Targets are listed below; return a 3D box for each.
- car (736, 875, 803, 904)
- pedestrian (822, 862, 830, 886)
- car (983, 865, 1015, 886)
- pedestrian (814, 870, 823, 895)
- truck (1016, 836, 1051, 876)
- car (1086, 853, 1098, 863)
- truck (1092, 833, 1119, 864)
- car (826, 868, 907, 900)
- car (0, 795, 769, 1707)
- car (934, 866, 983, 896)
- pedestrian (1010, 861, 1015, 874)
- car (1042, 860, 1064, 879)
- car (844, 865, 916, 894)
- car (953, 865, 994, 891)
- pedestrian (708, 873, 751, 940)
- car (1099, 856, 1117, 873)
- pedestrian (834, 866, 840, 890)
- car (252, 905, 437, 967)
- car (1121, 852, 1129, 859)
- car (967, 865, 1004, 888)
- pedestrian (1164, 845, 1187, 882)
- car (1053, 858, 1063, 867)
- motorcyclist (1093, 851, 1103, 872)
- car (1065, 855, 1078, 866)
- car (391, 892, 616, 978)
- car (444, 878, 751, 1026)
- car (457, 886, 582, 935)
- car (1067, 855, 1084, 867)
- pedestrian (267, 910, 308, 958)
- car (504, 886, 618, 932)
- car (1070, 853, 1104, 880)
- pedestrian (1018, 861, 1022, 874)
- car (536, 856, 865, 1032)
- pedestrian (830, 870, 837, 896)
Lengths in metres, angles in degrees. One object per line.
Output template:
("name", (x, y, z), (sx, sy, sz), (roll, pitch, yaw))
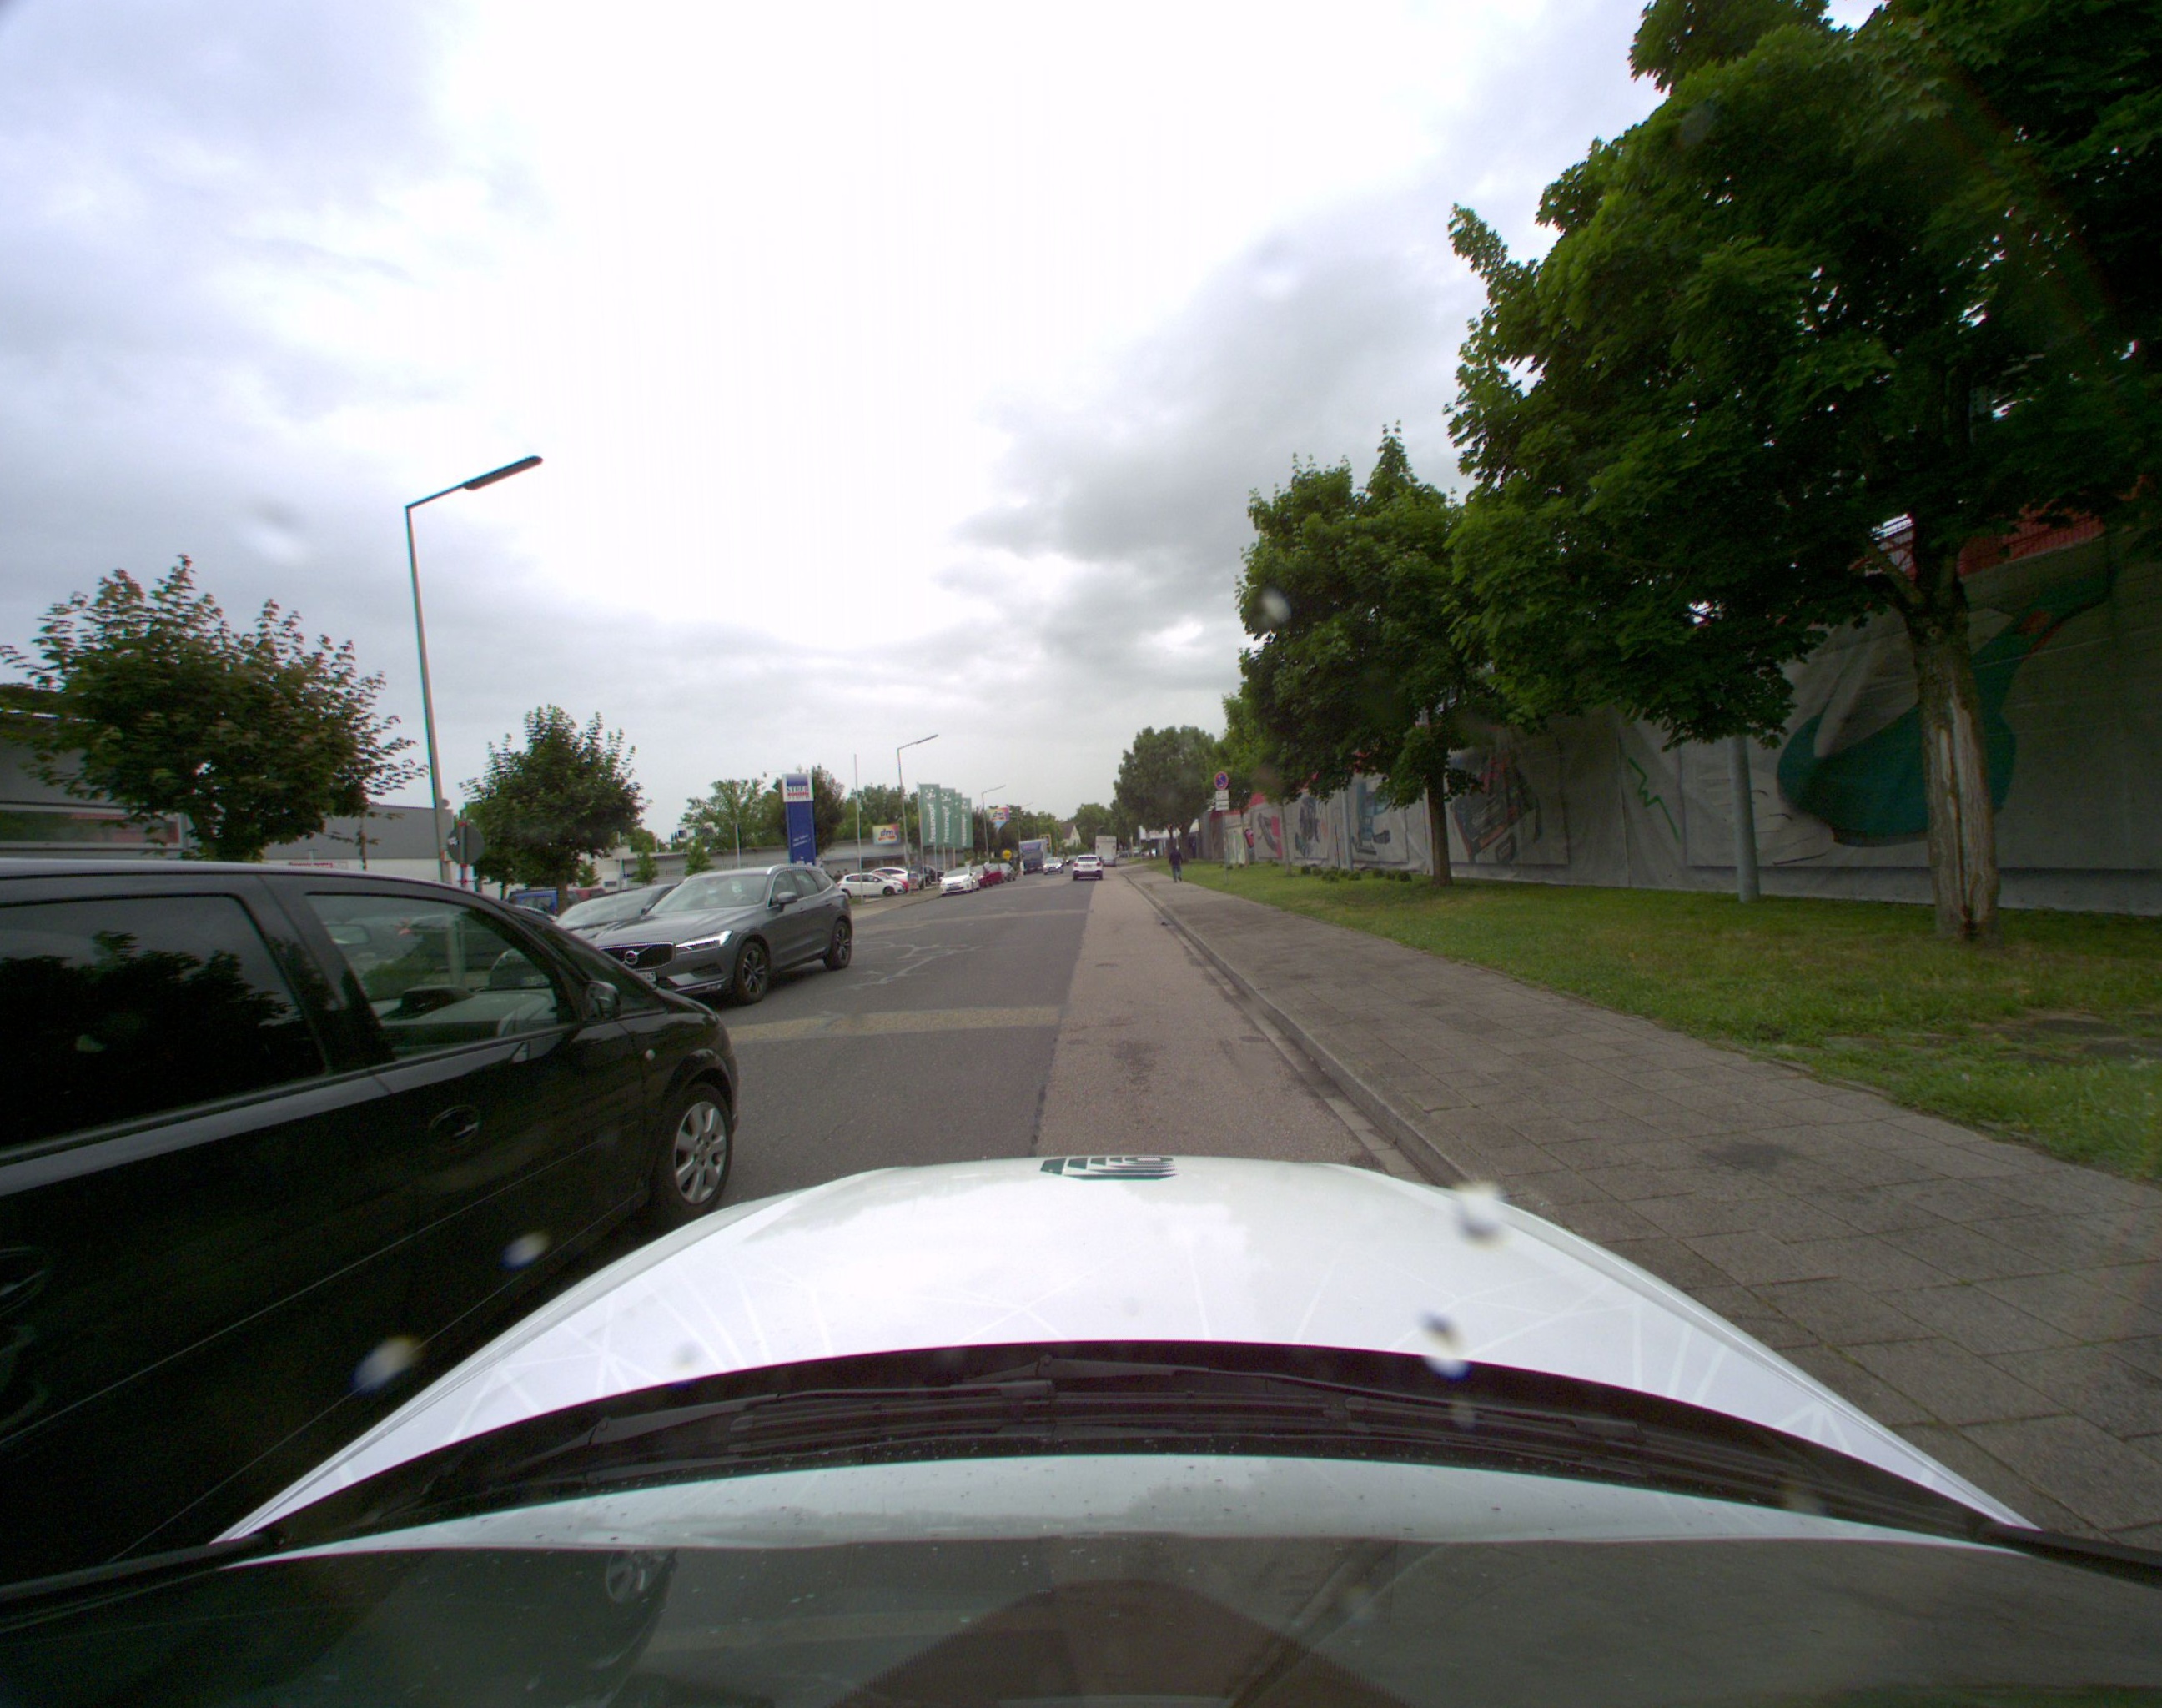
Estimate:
("car", (-22.634, 2.582, 59.235), (3.973, 1.669, 1.877), (-5, 0, 1))
("pedestrian", (-17.081, 1.369, 54.632), (0.359, 1.570, 0.502), (-4, 0, -12))
("car", (-6.323, 1.643, 63.443), (1.891, 1.367, 4.002), (-5, 0, 2))
("pedestrian", (-17.633, 1.910, 54.688), (0.456, 1.642, 0.372), (-4, 0, -16))
("truck", (-5.229, 0.204, 90.999), (2.962, 3.955, 6.408), (-6, 0, 2))
("car", (1.957, 0.663, 143.239), (1.864, 1.662, 3.999), (-5, 0, 0))
("truck", (3.108, -0.622, 105.209), (3.125, 3.584, 10.049), (-3, -1, 0))
("car", (-12.528, 1.729, 47.792), (4.198, 1.463, 1.948), (-4, 0, -7))
("car", (-2.486, 0.788, 2.165), (1.675, 1.632, 3.759), (-5, 0, 1))
("car", (-6.784, 1.479, 45.413), (1.891, 1.367, 4.002), (-4, 0, 2))
("pedestrian", (-8.110, 1.615, 96.492), (0.401, 1.531, 0.484), (-5, 0, -5))
("car", (-2.488, 1.376, 74.028), (1.593, 1.528, 3.530), (-6, -1, 2))
("car", (-12.967, 1.619, 52.660), (4.128, 1.463, 1.896), (-5, 0, -4))
("car", (-6.801, 1.490, 51.981), (1.891, 1.367, 4.002), (-5, 0, 2))
("pedestrian", (-9.564, 1.415, 22.150), (0.773, 1.715, 0.696), (-4, 0, -3))
("car", (3.191, 1.207, 96.132), (1.987, 1.806, 4.000), (-3, -1, 0))
("pedestrian", (-16.557, 1.638, 55.272), (0.330, 1.570, 0.502), (-3, 0, -13))
("car", (-24.007, 2.640, 26.737), (3.997, 1.485, 1.866), (-4, 0, -17))
("car", (10.763, 0.428, 200.090), (1.879, 1.683, 4.256), (-2, 0, 2))
("car", (-6.676, 1.591, 57.473), (1.891, 1.367, 4.002), (-5, 0, 2))
("pedestrian", (4.268, 0.430, 36.887), (0.915, 1.635, 0.853), (-3, -1, 3))
("car", (-3.933, 1.435, 139.852), (1.618, 1.375, 3.452), (-3, -1, 1))
("motorcyclist", (1.316, 0.597, 62.123), (0.622, 1.554, 0.604), (-5, 0, 3))
("car", (-1.538, 1.083, 137.033), (1.987, 1.684, 4.000), (-3, -1, 0))
("car", (-13.532, 1.865, 19.249), (3.859, 1.620, 1.928), (-3, 0, 1))
("car", (-7.169, 1.335, 12.776), (1.940, 1.526, 4.403), (-9, 0, 1))
("car", (-24.139, 2.412, 35.097), (3.973, 1.669, 1.877), (-5, 0, 1))
("car", (-0.715, 0.853, 103.264), (1.931, 1.367, 4.001), (-5, 0, 1))
("pedestrian", (-30.072, 3.011, 30.865), (0.797, 1.715, 0.696), (-3, 0, -3))
("car", (-23.996, 2.506, 37.681), (3.973, 1.669, 1.877), (-5, 0, 1))
("car", (0.427, 0.748, 50.076), (1.879, 1.531, 4.256), (-2, 0, 2))
("pedestrian", (-7.660, 1.683, 102.892), (0.401, 1.531, 0.484), (-5, 0, -5))
("car", (-4.661, 0.964, 10.933), (1.925, 1.683, 4.500), (-6, 0, 4))
("pedestrian", (-16.519, 1.936, 54.403), (0.263, 1.729, 0.421), (-4, 0, -11))
